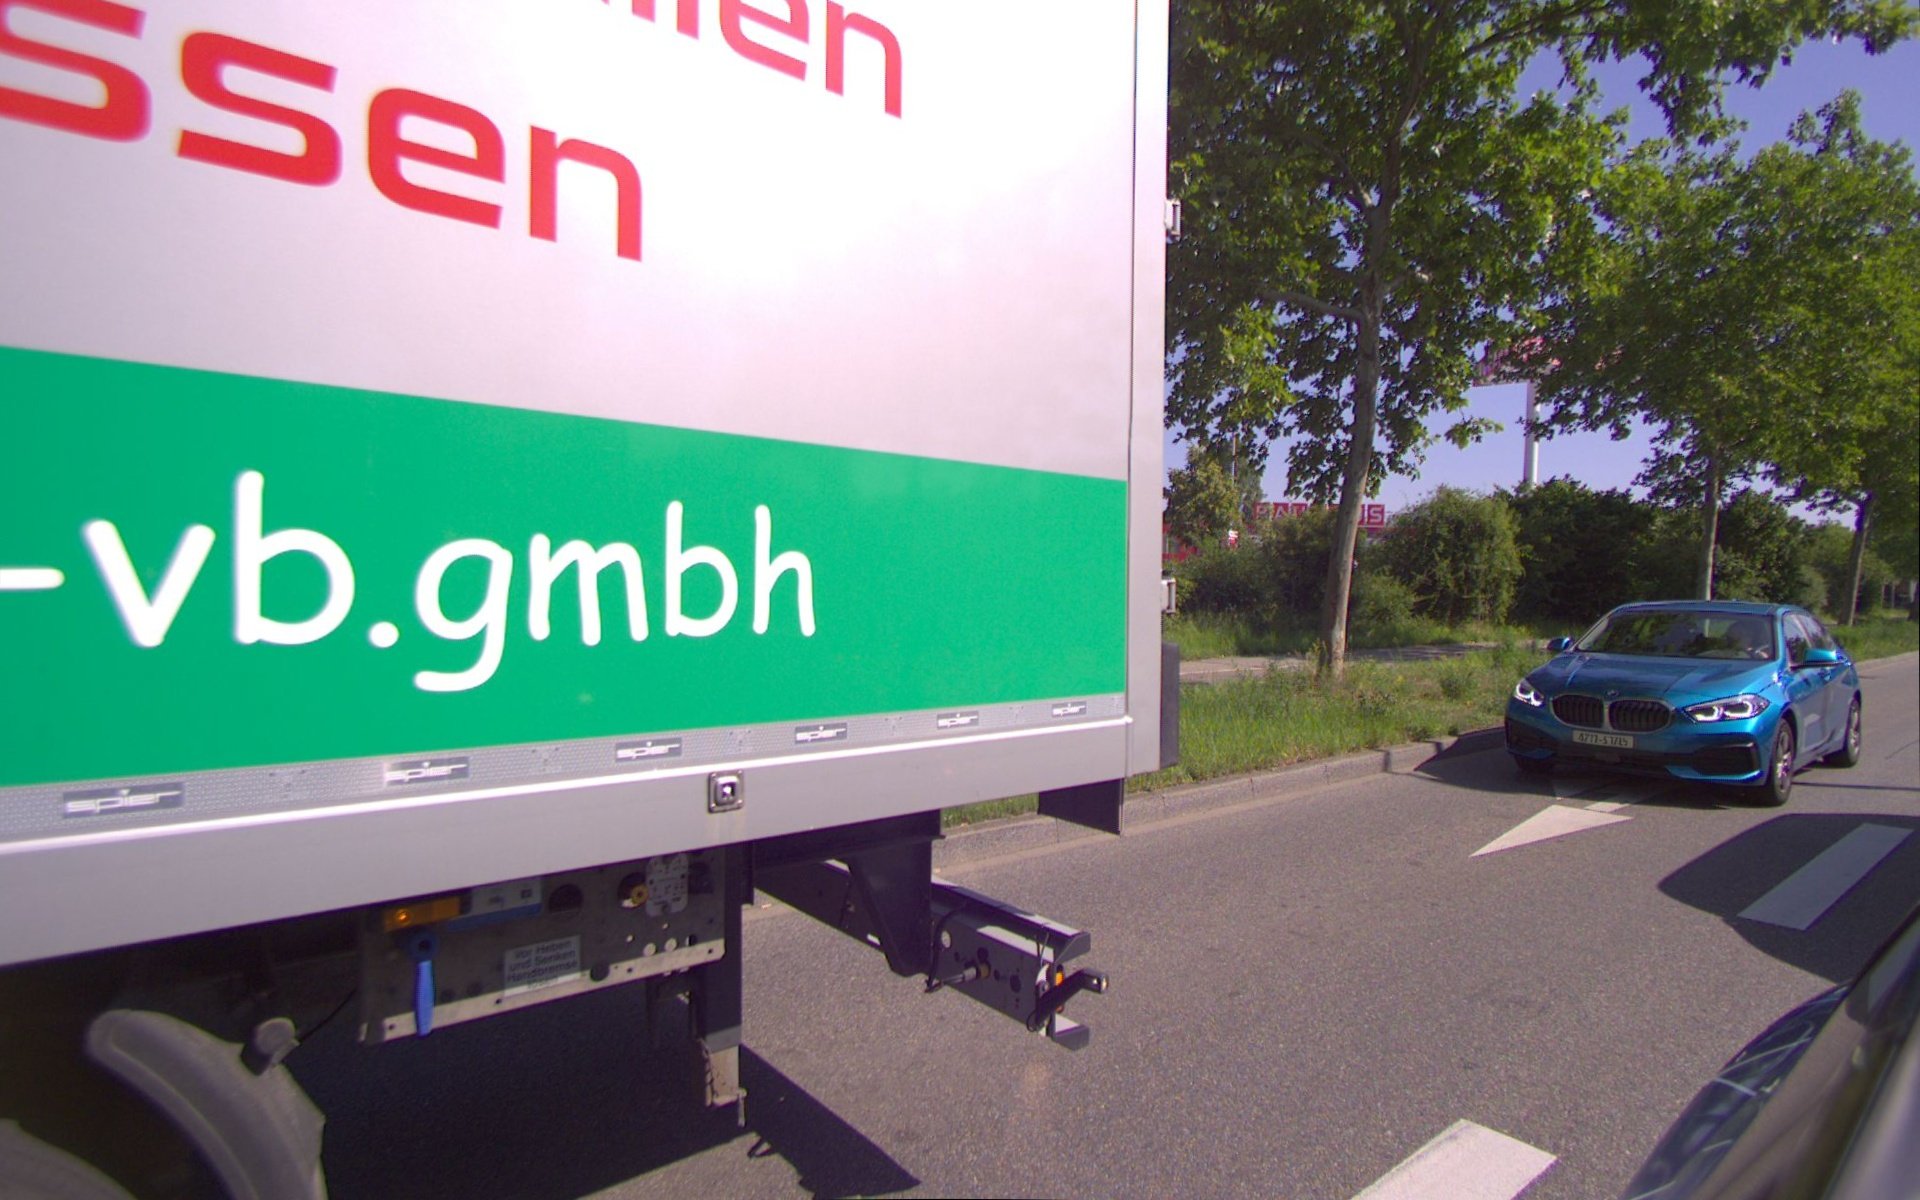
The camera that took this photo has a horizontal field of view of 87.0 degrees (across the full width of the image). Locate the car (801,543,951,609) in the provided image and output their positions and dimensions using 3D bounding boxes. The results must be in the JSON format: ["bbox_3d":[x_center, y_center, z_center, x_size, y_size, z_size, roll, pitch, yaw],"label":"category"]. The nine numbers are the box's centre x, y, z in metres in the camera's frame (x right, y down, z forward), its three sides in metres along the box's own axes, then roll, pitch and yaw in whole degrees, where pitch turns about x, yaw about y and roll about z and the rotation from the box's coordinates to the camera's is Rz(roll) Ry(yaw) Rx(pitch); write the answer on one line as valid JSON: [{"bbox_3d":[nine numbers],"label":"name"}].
[{"bbox_3d":[-2.277,-0.614,26.802,1.850,1.611,4.075,-1,1,-43],"label":"car"}]

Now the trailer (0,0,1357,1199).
[{"bbox_3d":[-2.896,-0.663,1.026,7.596,3.924,2.743,-1,2,-39],"label":"trailer"}]

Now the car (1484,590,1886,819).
[{"bbox_3d":[6.288,0.661,8.610,4.058,1.437,1.871,0,2,-41],"label":"car"}]

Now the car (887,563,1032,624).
[{"bbox_3d":[-0.085,-0.185,28.752,1.850,1.611,4.075,-1,1,-43],"label":"car"}]
